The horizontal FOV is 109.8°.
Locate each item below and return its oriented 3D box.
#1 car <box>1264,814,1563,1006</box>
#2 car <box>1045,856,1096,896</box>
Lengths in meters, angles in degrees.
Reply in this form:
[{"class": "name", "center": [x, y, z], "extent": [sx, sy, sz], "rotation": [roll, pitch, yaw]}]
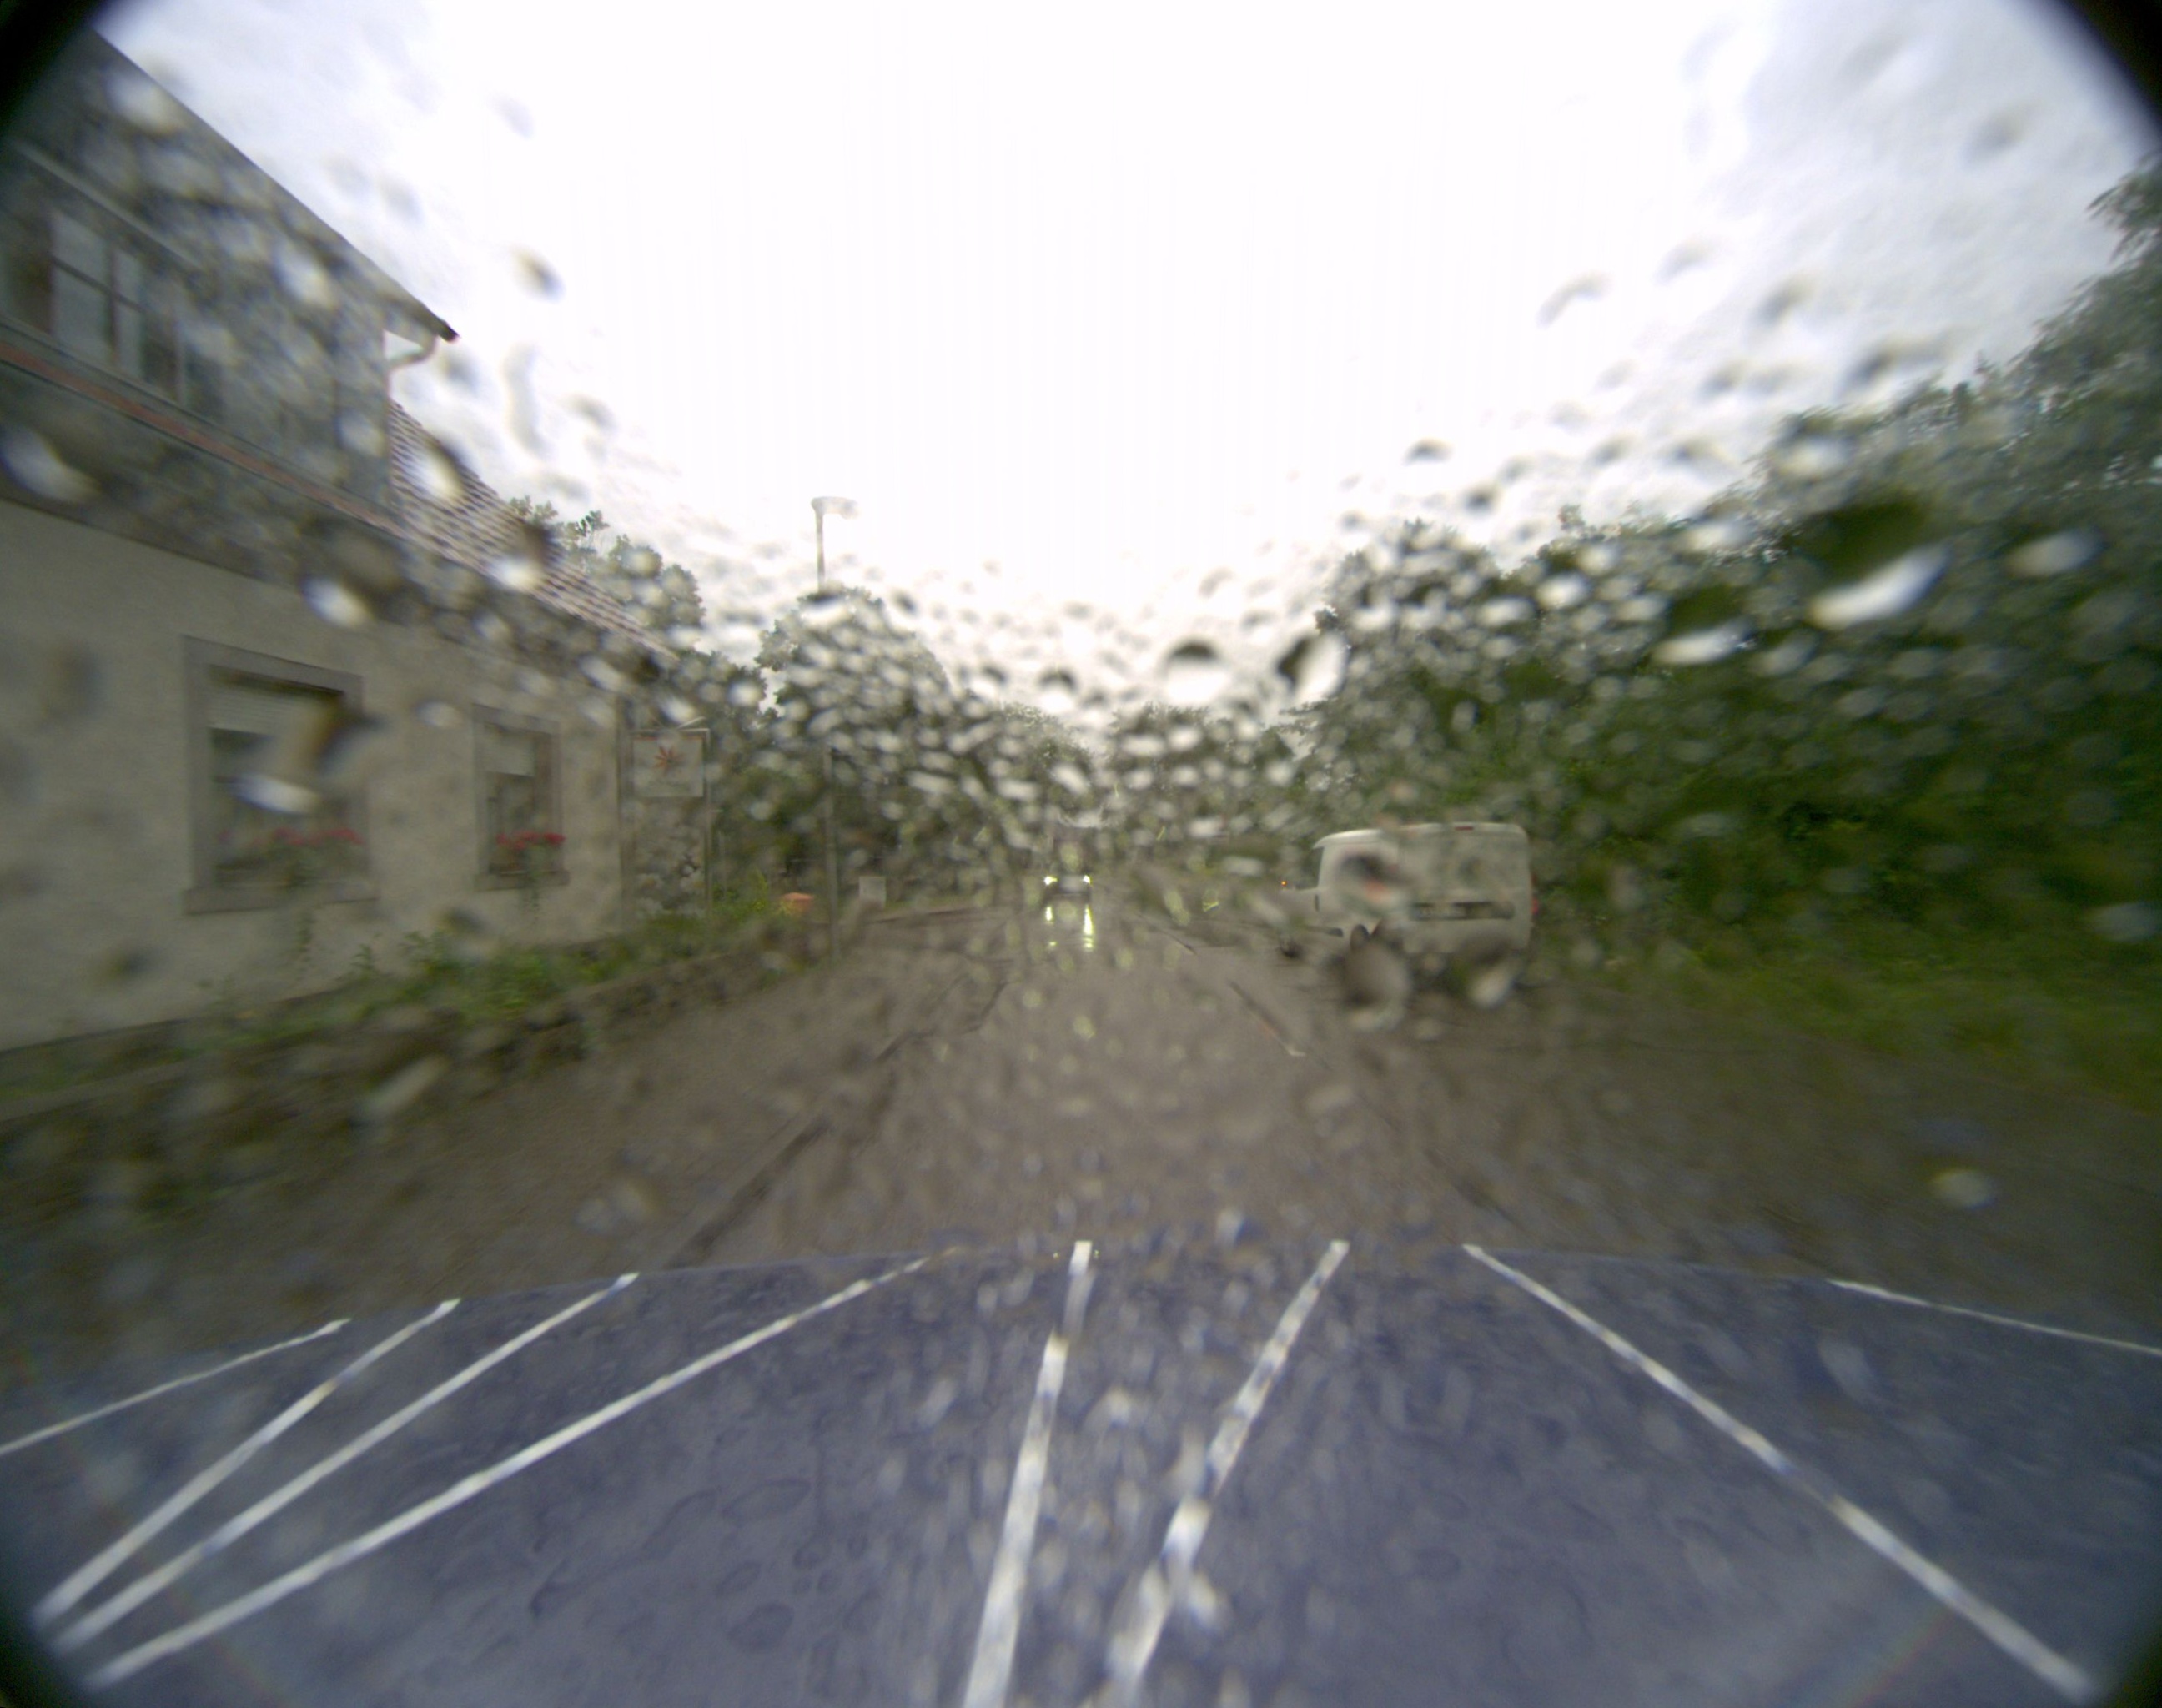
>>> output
[{"class": "car", "center": [3.833, 0.538, 9.611], "extent": [1.837, 1.853, 3.953], "rotation": [-2, 1, -3]}, {"class": "car", "center": [-0.341, 0.825, 30.151], "extent": [1.766, 1.316, 4.549], "rotation": [-2, 1, 2]}]
